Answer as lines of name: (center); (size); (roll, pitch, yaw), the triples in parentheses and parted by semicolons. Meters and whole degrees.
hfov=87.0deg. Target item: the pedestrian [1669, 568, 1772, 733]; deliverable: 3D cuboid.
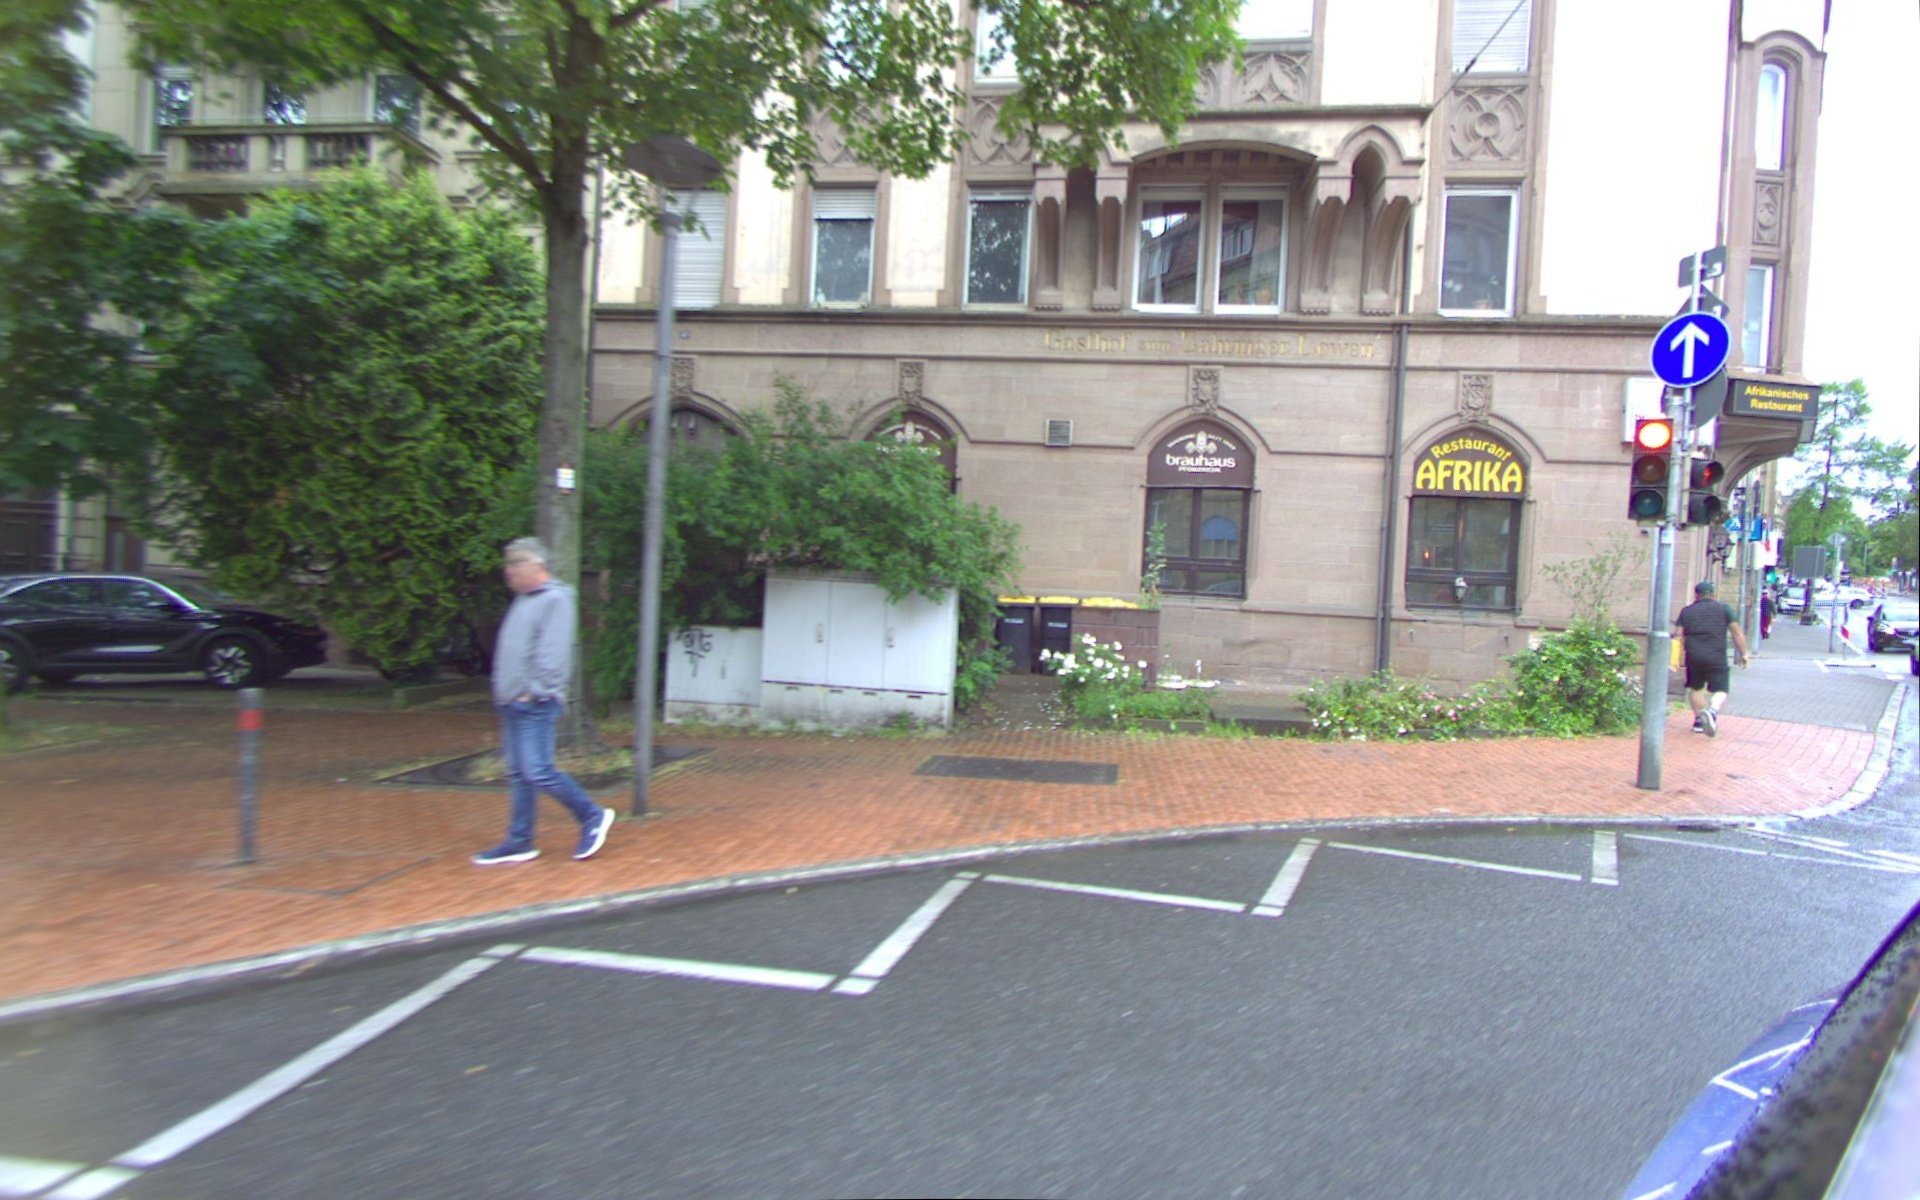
pedestrian: (8.253, 0.511, 11.020); (0.825, 1.699, 0.883); (1, 1, 34)

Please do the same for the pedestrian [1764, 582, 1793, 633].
pedestrian: (32.031, 0.290, 39.588); (1.072, 1.974, 0.699); (1, 1, -42)

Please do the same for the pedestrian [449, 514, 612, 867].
pedestrian: (-2.258, 0.445, 5.390); (0.716, 1.755, 0.575); (1, 1, -15)

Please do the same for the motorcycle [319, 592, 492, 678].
motorcycle: (-8.082, 0.501, 14.844); (2.153, 1.203, 0.556); (0, 1, -19)

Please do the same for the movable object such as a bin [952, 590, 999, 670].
movable object such as a bin: (0.220, 0.407, 14.021); (0.584, 1.070, 0.531); (1, 1, 6)

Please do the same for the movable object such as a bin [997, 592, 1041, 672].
movable object such as a bin: (0.817, 0.428, 13.961); (0.565, 1.070, 0.536); (1, 1, 6)

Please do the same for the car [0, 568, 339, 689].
car: (-10.843, 0.339, 13.780); (3.769, 1.494, 1.776); (0, 1, -20)

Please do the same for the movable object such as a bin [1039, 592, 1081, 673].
movable object such as a bin: (1.365, 0.433, 13.846); (0.549, 1.078, 0.542); (1, 1, 6)

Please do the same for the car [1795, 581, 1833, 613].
car: (51.012, -0.198, 60.501); (1.521, 1.636, 3.445); (8, 8, 39)

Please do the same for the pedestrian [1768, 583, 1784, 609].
pedestrian: (50.793, -0.233, 62.967); (0.642, 1.513, 0.682); (7, 9, 39)
